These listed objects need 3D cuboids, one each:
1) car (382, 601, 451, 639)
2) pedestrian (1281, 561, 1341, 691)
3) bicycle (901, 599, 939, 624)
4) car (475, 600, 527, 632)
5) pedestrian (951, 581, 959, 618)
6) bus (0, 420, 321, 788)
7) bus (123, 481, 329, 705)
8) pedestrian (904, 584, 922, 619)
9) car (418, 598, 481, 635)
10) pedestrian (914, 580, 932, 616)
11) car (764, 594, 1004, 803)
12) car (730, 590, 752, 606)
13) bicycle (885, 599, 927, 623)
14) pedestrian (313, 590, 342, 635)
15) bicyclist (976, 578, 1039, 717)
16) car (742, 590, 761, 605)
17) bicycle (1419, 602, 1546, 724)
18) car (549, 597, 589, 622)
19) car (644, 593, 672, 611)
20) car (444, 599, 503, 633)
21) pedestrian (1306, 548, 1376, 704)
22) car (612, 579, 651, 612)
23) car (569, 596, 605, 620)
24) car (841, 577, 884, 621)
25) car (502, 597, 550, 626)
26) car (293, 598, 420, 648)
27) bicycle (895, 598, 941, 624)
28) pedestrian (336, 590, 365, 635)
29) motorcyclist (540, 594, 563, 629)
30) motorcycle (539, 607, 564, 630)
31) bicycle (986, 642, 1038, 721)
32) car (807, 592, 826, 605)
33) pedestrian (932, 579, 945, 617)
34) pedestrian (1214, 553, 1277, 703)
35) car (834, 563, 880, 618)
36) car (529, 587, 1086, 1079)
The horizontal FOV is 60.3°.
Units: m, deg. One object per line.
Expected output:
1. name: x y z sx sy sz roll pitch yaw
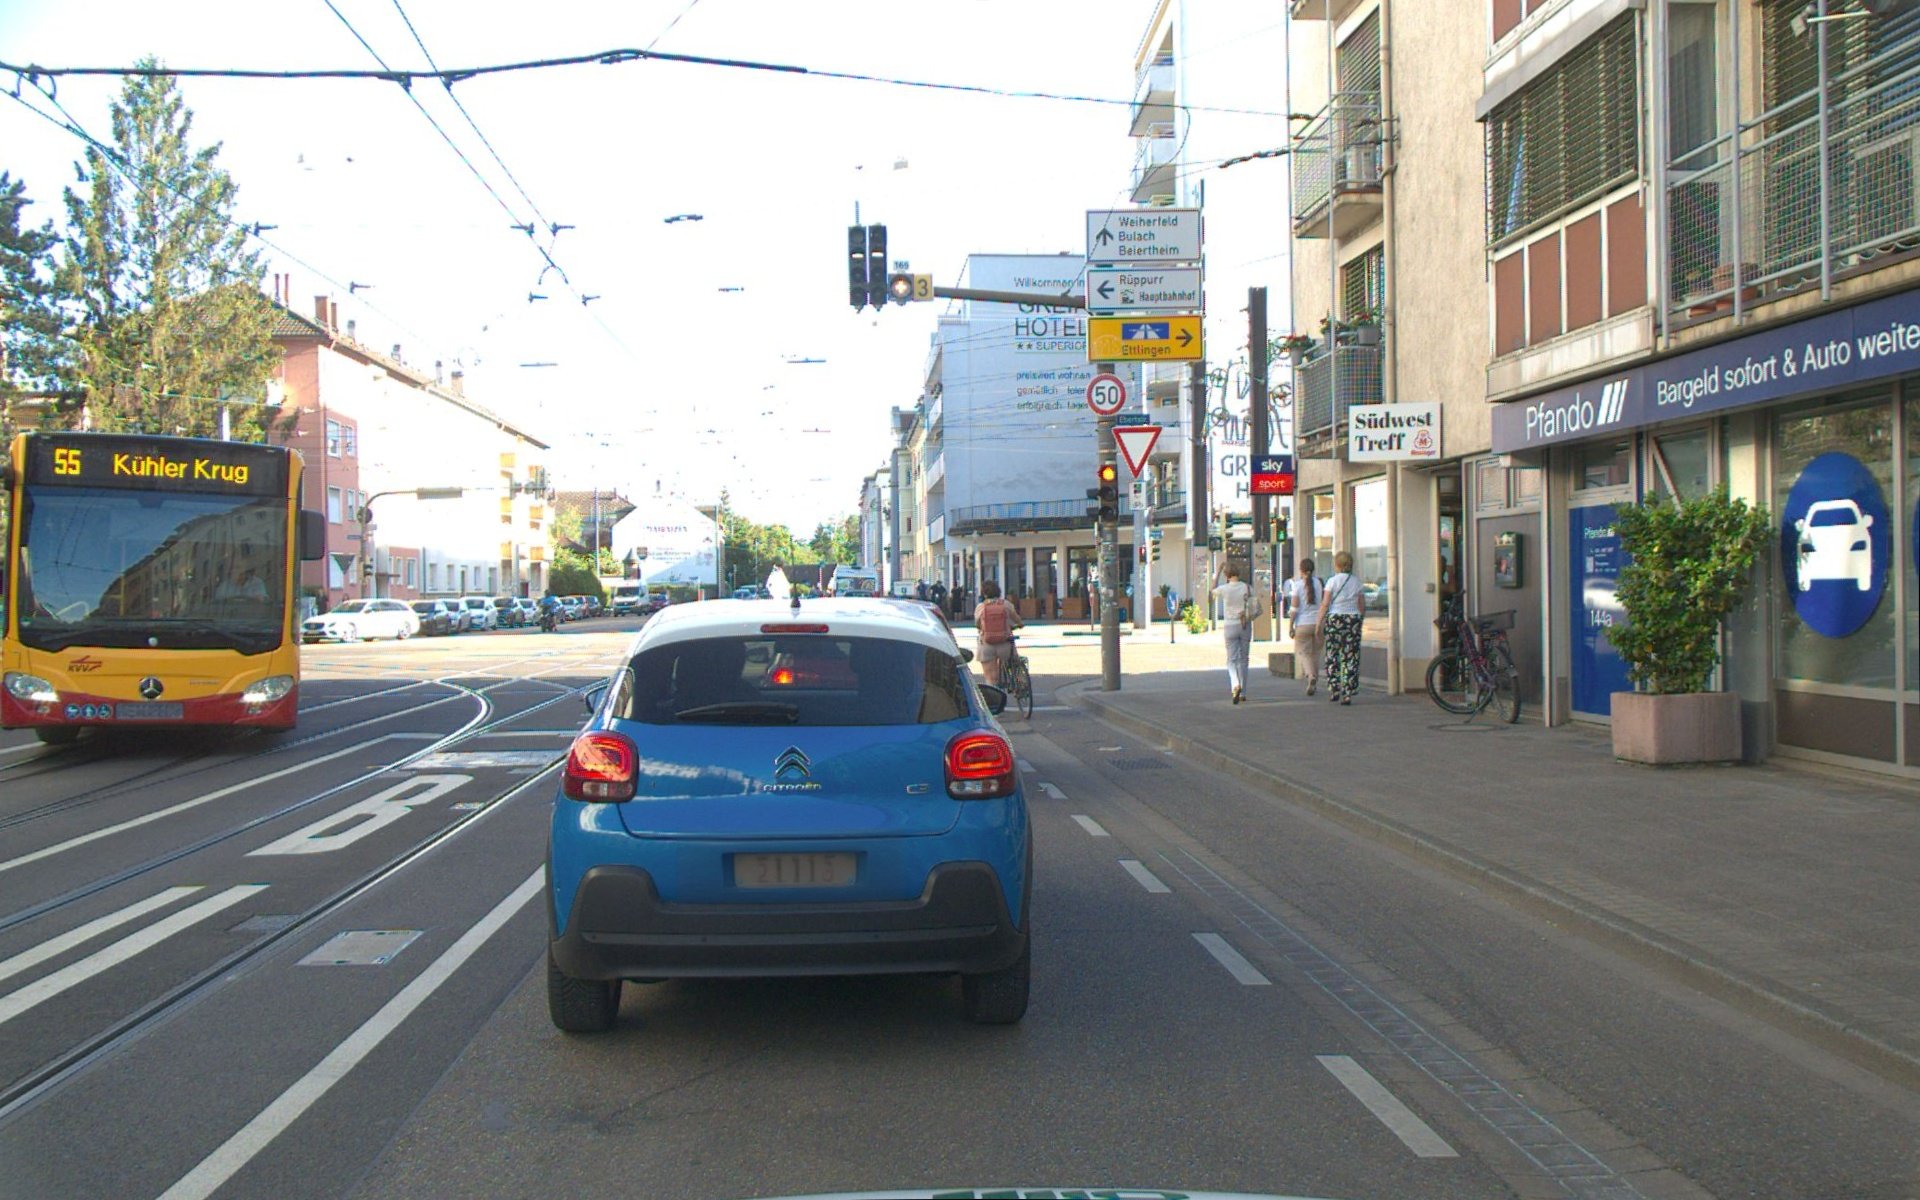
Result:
1. car: -22.496 0.812 68.599 1.874 1.458 3.994 -1 1 -7
2. pedestrian: 4.307 0.309 20.324 0.530 1.534 0.611 -3 2 -3
3. bicycle: -1.594 0.450 66.195 1.473 0.973 0.702 -1 0 0
4. car: -23.756 0.797 85.707 1.874 1.523 3.996 -1 1 -5
5. pedestrian: -0.201 -0.028 70.360 0.279 1.583 0.304 -1 0 -10
6. bus: -9.106 -0.003 19.639 2.684 3.213 10.127 -1 1 -22
7. bus: -12.110 -0.138 27.844 2.699 3.217 7.530 -1 0 -21
8. pedestrian: -2.172 0.071 76.370 0.483 1.583 0.646 -1 0 34
9. car: -22.883 0.724 74.319 1.874 1.523 3.996 -1 1 -5
10. pedestrian: -1.674 -0.096 74.492 0.483 1.583 0.646 -1 0 34
11. car: -0.584 0.699 13.863 1.703 1.445 3.999 -1 0 -1
12. car: -22.381 -0.236 169.188 1.982 1.552 3.996 -1 0 -5
13. bicycle: -2.245 0.451 68.600 1.684 0.973 0.702 -1 0 0
14. pedestrian: -24.573 0.468 64.266 0.826 1.720 0.737 -1 0 1
15. bicyclist: 0.580 0.571 20.532 0.711 1.674 0.790 -1 0 -1
16. car: -23.511 -0.290 186.759 1.982 1.552 3.996 -1 1 -5
17. bicycle: 5.032 0.574 16.037 0.520 1.091 1.809 -1 0 -4
18. car: -25.003 0.613 105.796 1.874 1.523 3.996 -1 1 -5
19. car: -26.309 0.172 144.211 1.982 1.552 3.996 -1 0 -5
20. car: -23.183 0.744 78.936 1.874 1.523 3.996 -1 1 -5
21. pedestrian: 4.291 0.288 18.649 0.530 1.701 0.650 -3 0 -3
22. car: -23.602 -0.351 118.910 2.164 2.290 4.672 -1 0 -5
23. car: -26.121 0.552 115.864 1.833 1.601 3.997 -1 0 -4
24. car: -4.008 -0.048 67.680 1.698 1.780 3.211 0 0 -4
25. car: -24.068 0.617 91.839 1.874 1.523 3.996 -1 1 -5
26. car: -20.941 0.779 57.586 1.811 1.601 4.403 -1 0 19
27. bicycle: -1.704 0.448 67.252 1.835 0.973 0.702 -1 0 0
28. pedestrian: -23.714 0.467 64.393 0.826 1.720 0.737 -1 0 1
29. motorcyclist: -16.560 0.458 67.018 0.704 1.402 0.911 -1 0 -1
30. motorcycle: -16.568 0.750 67.173 0.603 0.879 1.670 -1 0 -1
31. bicycle: 0.641 1.005 20.871 0.489 0.879 1.748 -1 0 -3
32. car: -14.993 -0.145 172.831 1.722 1.281 3.825 -1 0 -8
33. pedestrian: -0.915 -0.080 70.048 0.482 1.583 0.383 -1 0 -4
34. pedestrian: 3.348 0.314 19.416 0.530 1.701 0.624 -3 2 -3
35. car: -4.530 -0.405 72.584 1.954 2.366 3.996 0 0 -4
36. car: -0.691 0.694 7.095 1.711 1.488 3.994 0 0 -7
